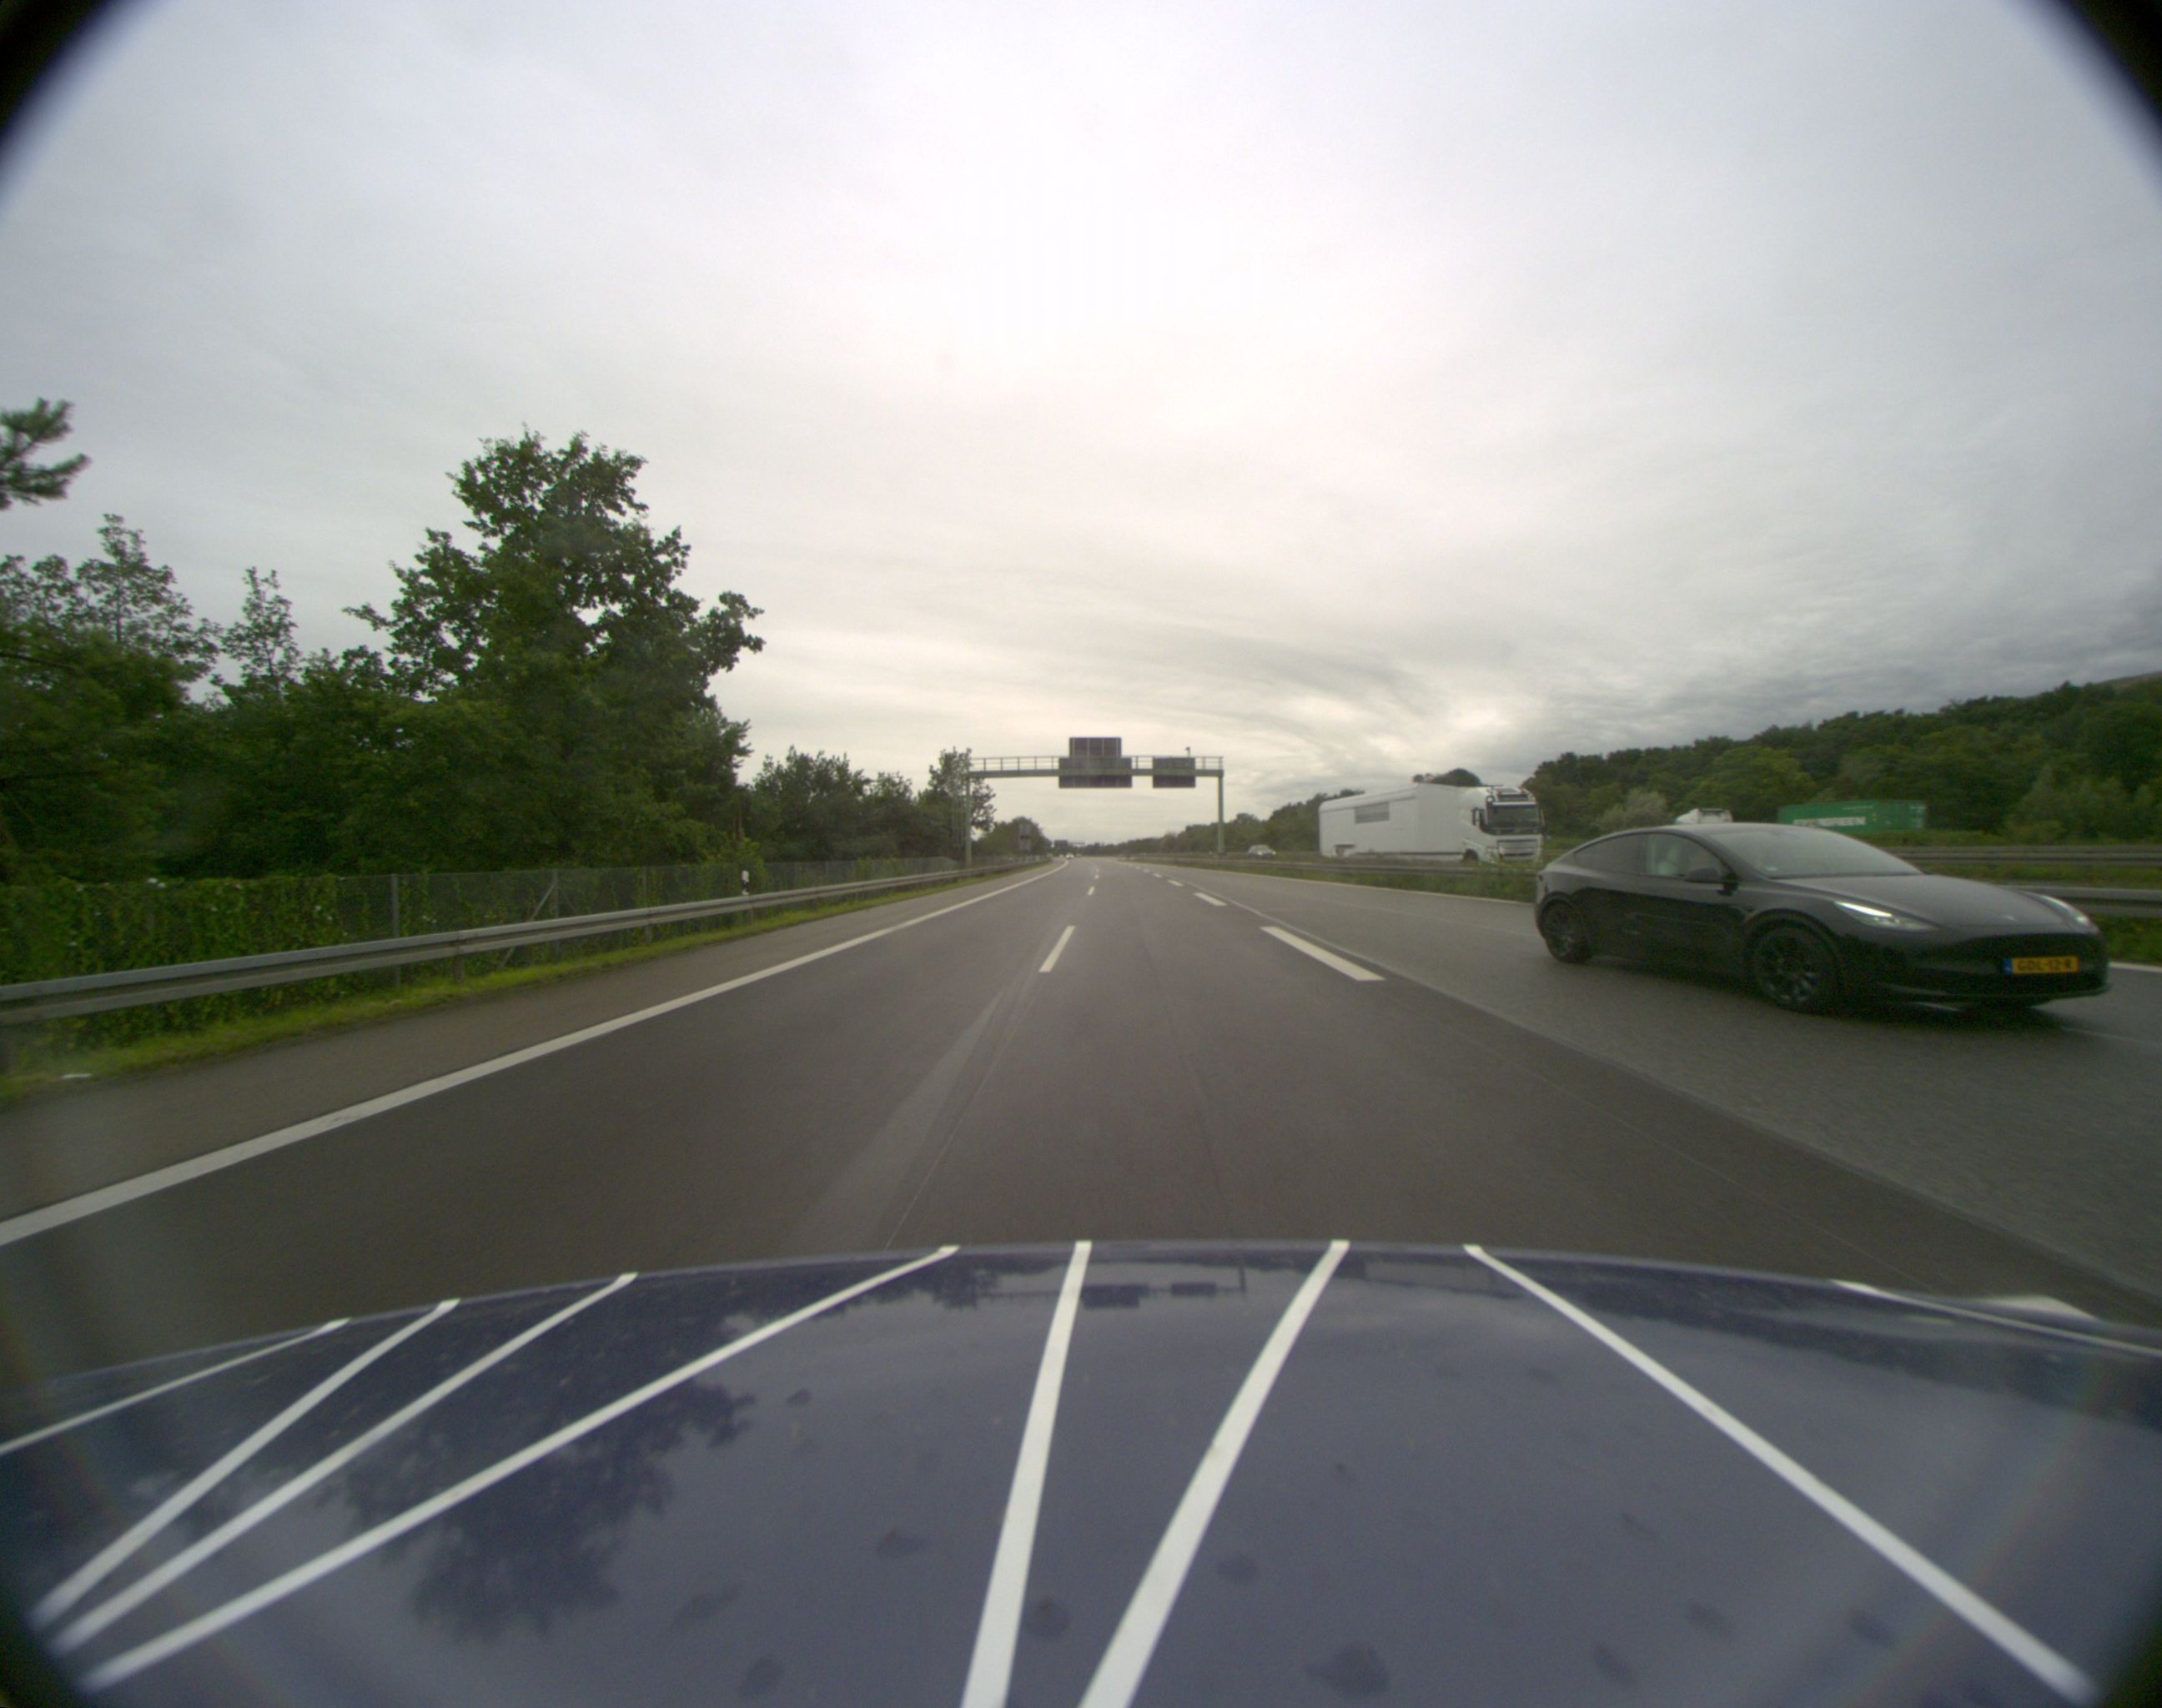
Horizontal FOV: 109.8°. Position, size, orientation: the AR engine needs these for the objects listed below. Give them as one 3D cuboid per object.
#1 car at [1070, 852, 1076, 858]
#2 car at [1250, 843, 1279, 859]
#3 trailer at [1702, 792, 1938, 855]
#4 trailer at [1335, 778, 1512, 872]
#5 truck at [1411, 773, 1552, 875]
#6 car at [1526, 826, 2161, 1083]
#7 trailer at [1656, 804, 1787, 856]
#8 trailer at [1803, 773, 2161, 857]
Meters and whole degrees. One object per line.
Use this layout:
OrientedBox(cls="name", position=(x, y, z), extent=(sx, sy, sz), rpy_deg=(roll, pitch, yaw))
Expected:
OrientedBox(cls="car", position=(-2.342, 0.310, 216.740), extent=(1.630, 1.632, 3.775), rpy_deg=(-2, 1, -3))
OrientedBox(cls="car", position=(20.168, -0.362, 83.766), extent=(1.904, 1.641, 4.484), rpy_deg=(-2, 0, -2))
OrientedBox(cls="trailer", position=(45.590, -1.702, 47.793), extent=(2.967, 3.383, 11.800), rpy_deg=(-2, 0, -2))
OrientedBox(cls="trailer", position=(17.683, -1.336, 41.012), extent=(2.773, 4.111, 13.948), rpy_deg=(-2, 0, -2))
OrientedBox(cls="truck", position=(17.886, -1.249, 34.499), extent=(2.773, 4.111, 6.444), rpy_deg=(-2, 0, -2))
OrientedBox(cls="car", position=(6.642, 0.632, 7.314), extent=(1.966, 1.628, 4.553), rpy_deg=(-2, 1, -1))
OrientedBox(cls="trailer", position=(45.317, -1.602, 54.104), extent=(2.967, 3.383, 7.270), rpy_deg=(-2, 0, -2))
OrientedBox(cls="trailer", position=(45.981, -1.718, 39.714), extent=(2.854, 3.586, 13.778), rpy_deg=(-2, 0, -3))
